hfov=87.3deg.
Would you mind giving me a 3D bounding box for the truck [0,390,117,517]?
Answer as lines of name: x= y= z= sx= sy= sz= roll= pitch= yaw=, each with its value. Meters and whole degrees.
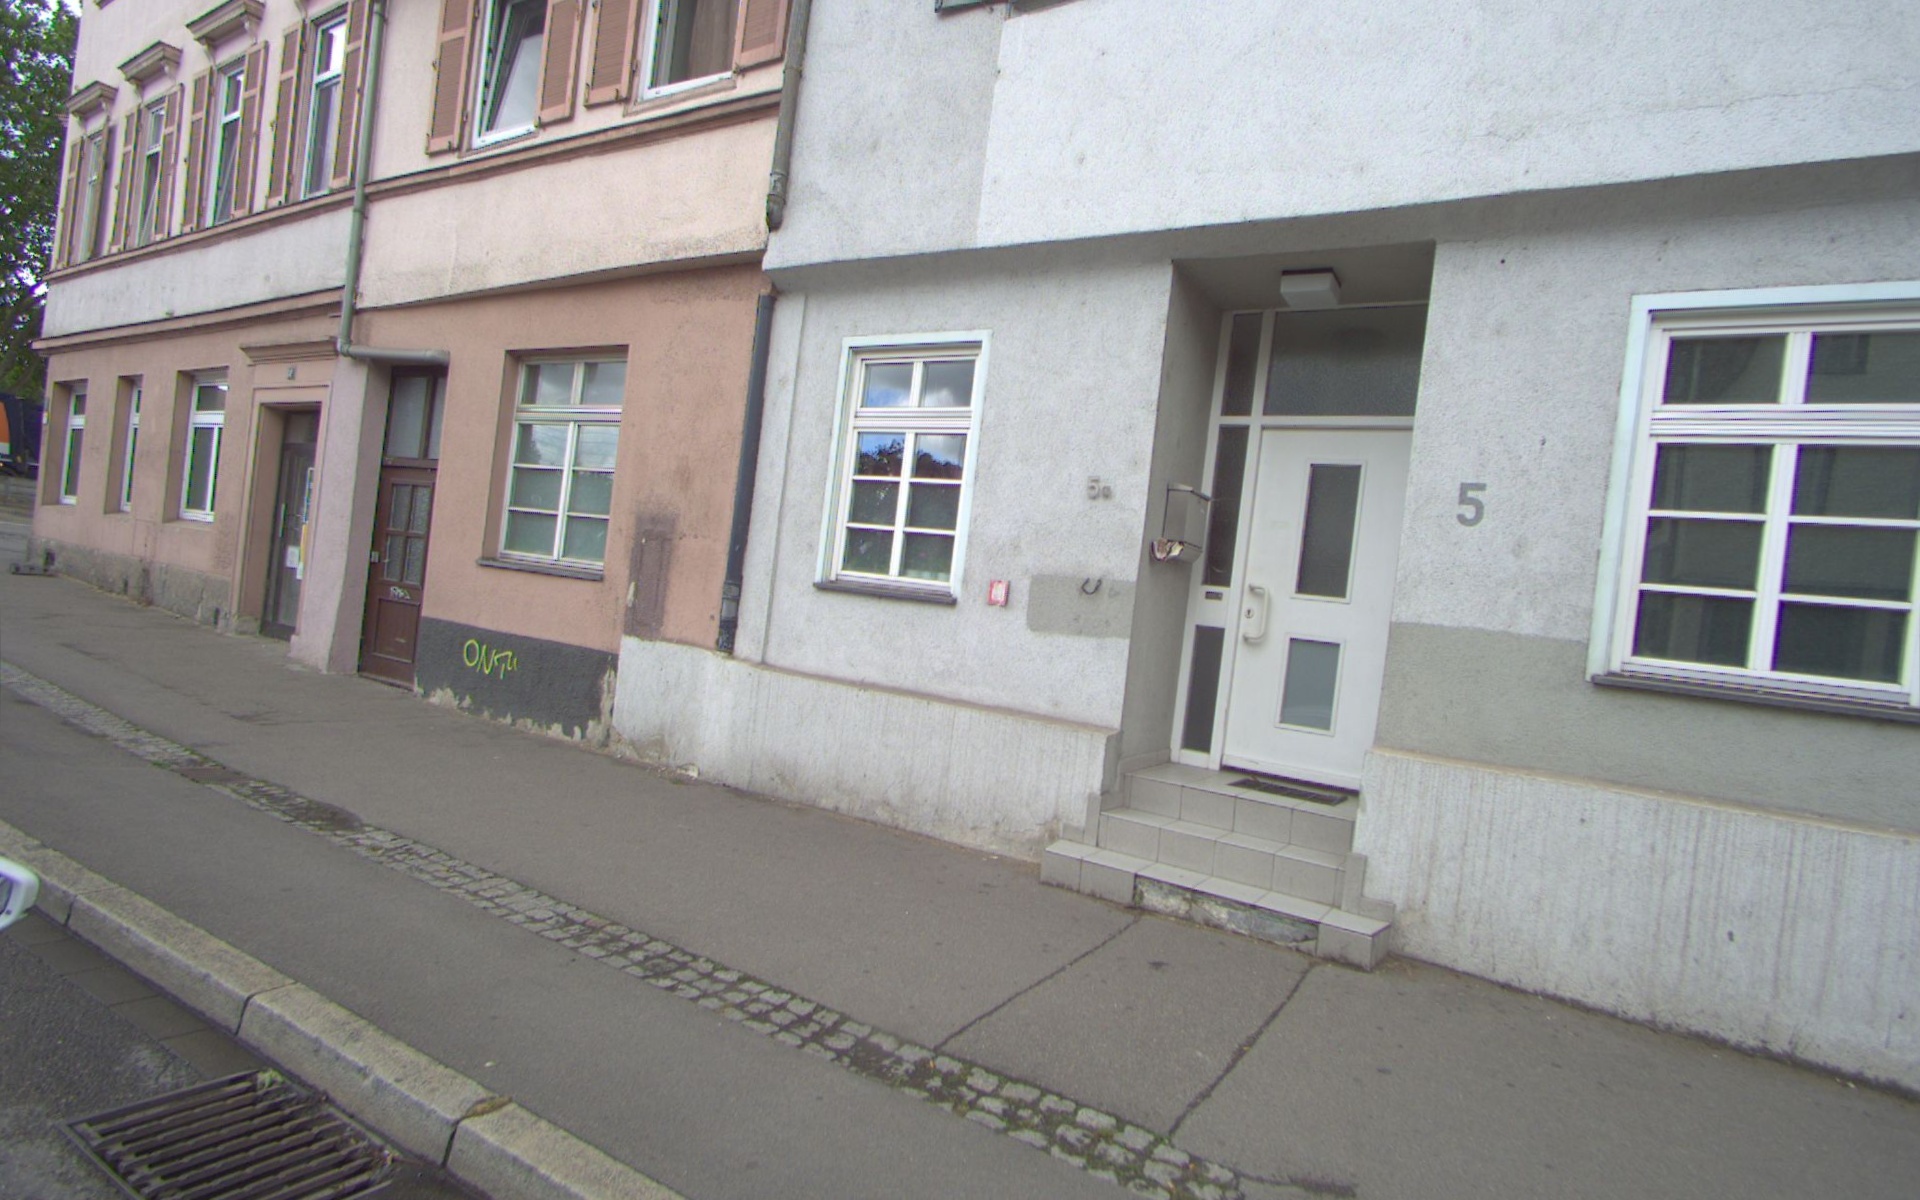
truck: x=-33.671 y=-5.345 z=32.102 sx=2.230 sy=3.740 sz=10.218 roll=7 pitch=-1 yaw=23
